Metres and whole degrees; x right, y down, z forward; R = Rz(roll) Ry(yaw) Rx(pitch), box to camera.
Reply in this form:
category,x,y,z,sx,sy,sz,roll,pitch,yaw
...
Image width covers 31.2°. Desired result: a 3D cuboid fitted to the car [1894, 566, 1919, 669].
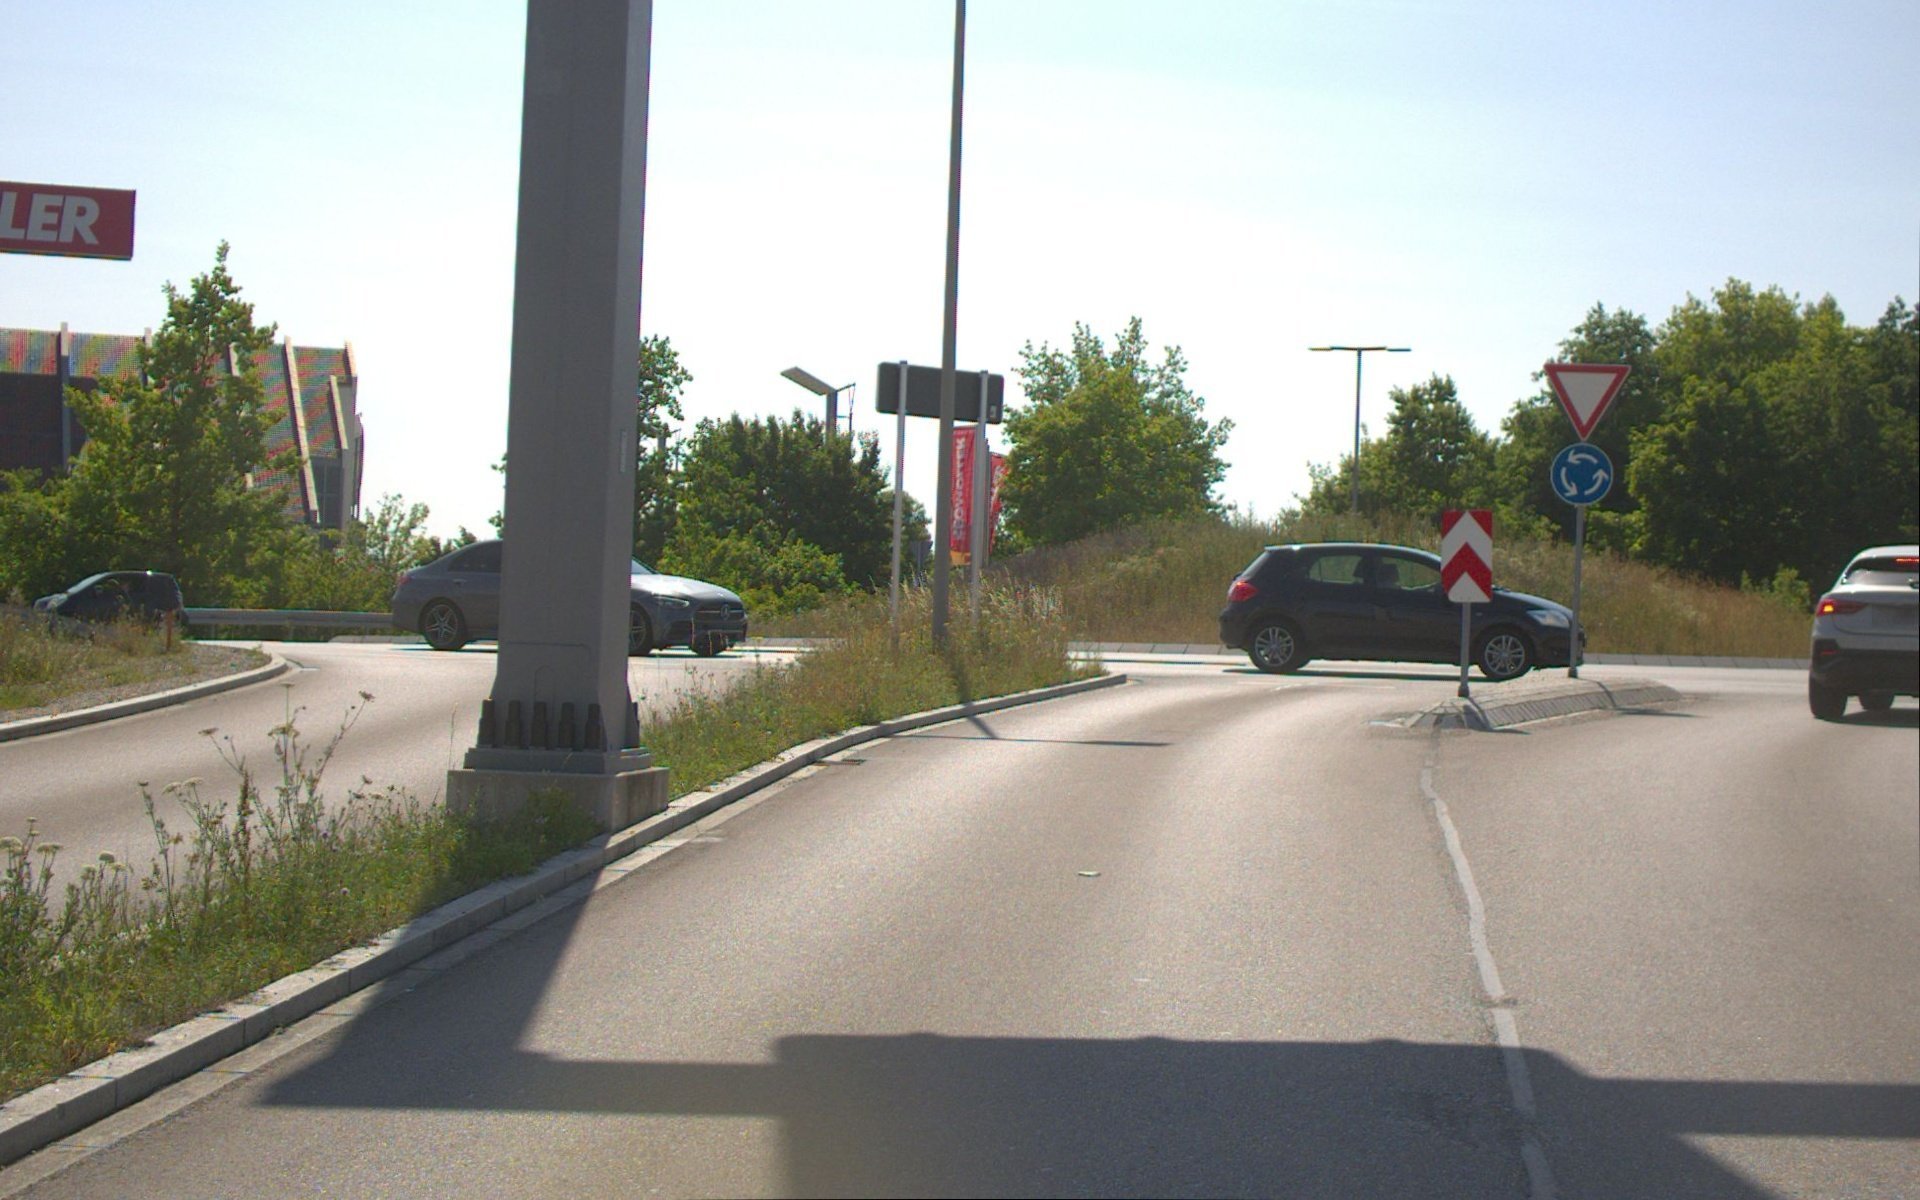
category,x,y,z,sx,sy,sz,roll,pitch,yaw
car,15.084,0.322,47.840,3.804,1.400,1.627,2,0,-25

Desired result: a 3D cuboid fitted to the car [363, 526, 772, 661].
category,x,y,z,sx,sy,sz,roll,pitch,yaw
car,-4.920,-0.096,42.867,4.867,1.447,1.996,3,1,33

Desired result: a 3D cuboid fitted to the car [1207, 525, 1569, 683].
category,x,y,z,sx,sy,sz,roll,pitch,yaw
car,4.990,0.035,39.855,3.951,1.612,1.817,3,0,12

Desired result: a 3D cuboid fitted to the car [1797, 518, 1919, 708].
category,x,y,z,sx,sy,sz,roll,pitch,yaw
car,8.832,0.125,31.350,1.843,1.590,4.320,2,0,20
